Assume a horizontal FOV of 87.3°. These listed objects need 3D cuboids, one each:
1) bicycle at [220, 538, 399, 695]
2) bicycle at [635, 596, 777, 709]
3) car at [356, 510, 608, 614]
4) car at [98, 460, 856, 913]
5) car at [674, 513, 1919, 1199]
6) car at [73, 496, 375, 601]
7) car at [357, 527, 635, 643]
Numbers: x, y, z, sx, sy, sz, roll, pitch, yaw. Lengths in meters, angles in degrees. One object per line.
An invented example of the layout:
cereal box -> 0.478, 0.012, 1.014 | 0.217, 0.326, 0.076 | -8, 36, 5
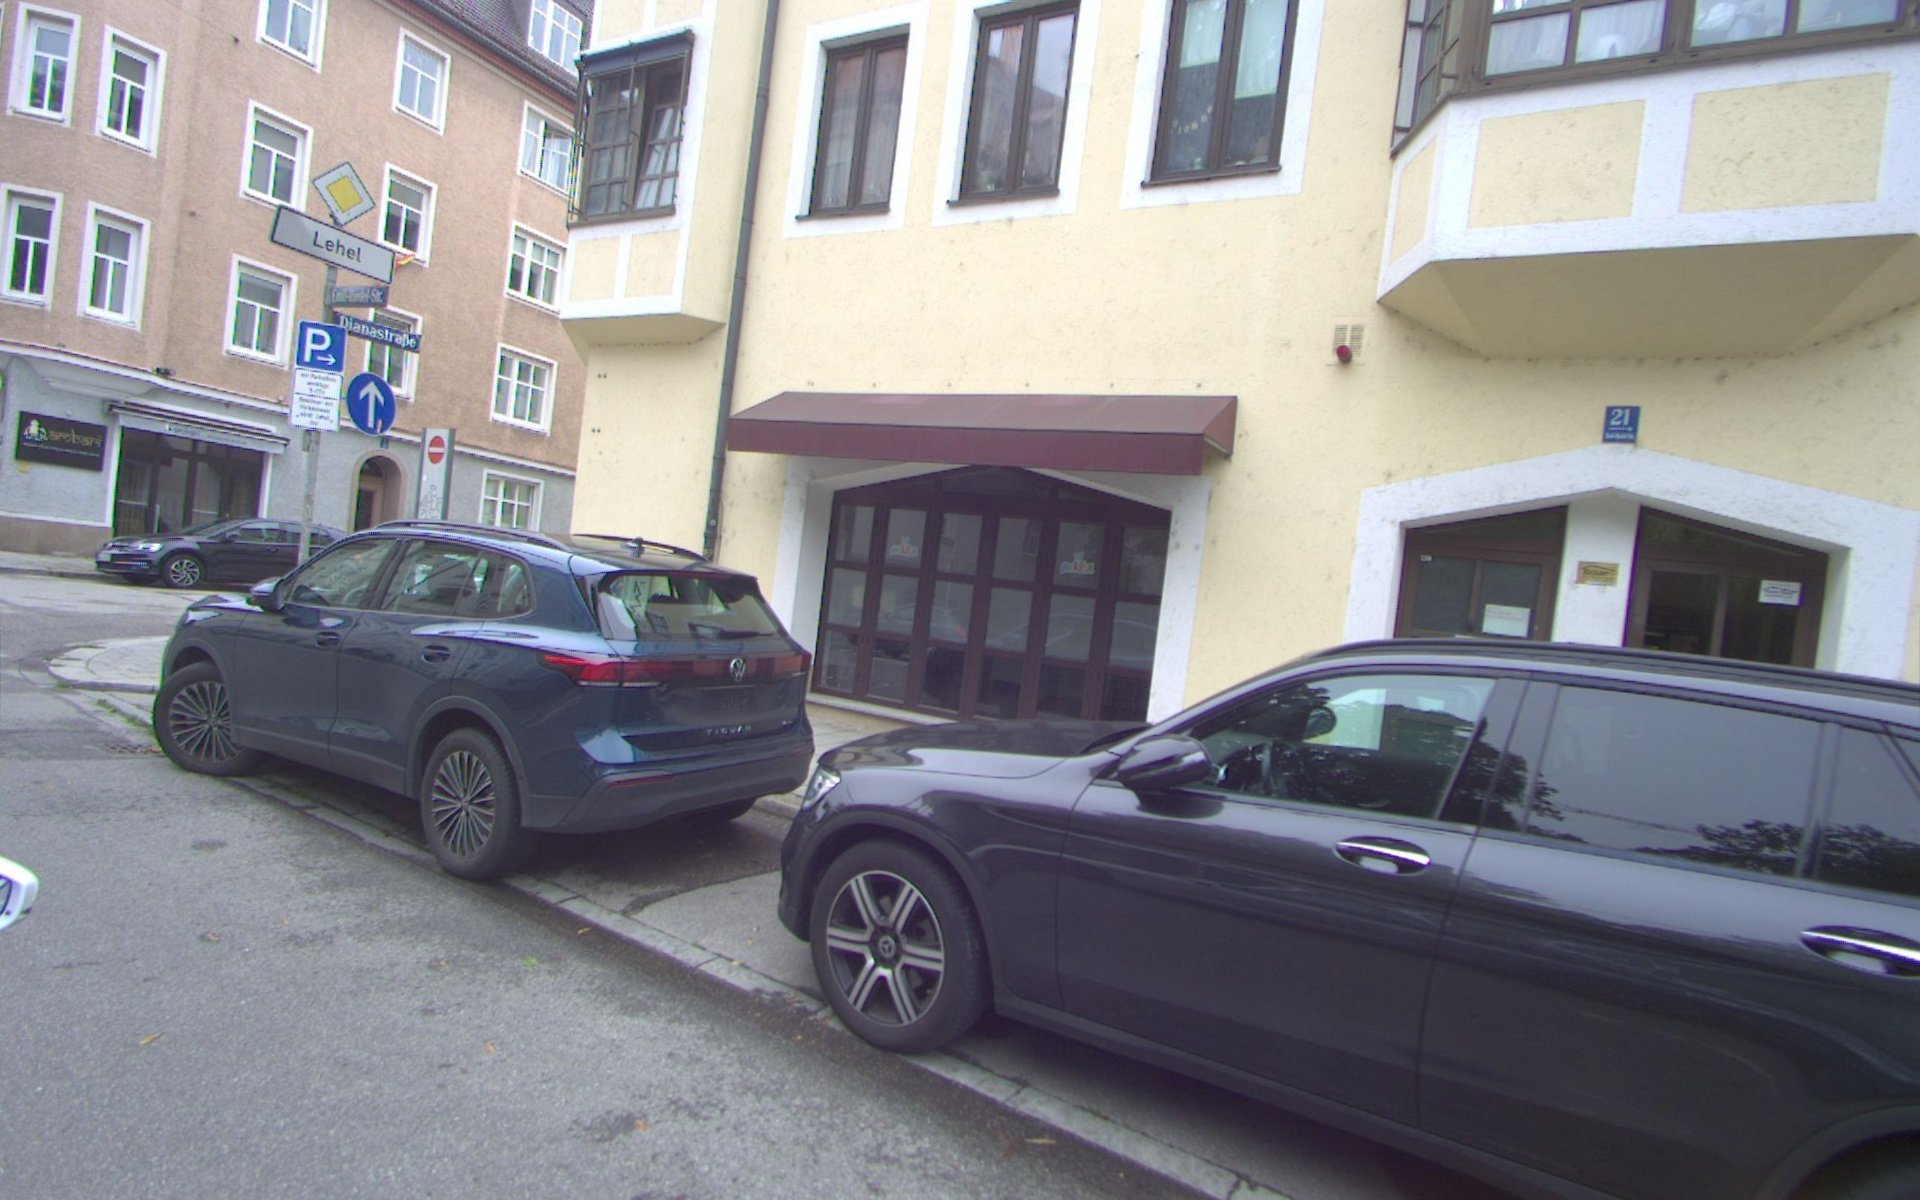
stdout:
bicycle -> -6.133, 0.130, 9.443 | 1.962, 1.222, 0.514 | 7, 0, 32
bicycle -> -2.751, 0.543, 10.812 | 1.656, 0.989, 0.271 | 7, 0, 30
car -> -11.350, -0.826, 24.339 | 2.064, 1.876, 5.136 | 5, -1, 29
car -> -3.013, 0.240, 5.980 | 4.434, 1.701, 1.820 | 7, 2, 31
car -> 1.385, 0.799, 3.307 | 4.630, 1.701, 1.757 | 7, 2, 33
car -> -13.820, -0.906, 19.162 | 1.893, 1.446, 4.177 | 5, -1, 29
car -> -7.943, -0.192, 17.593 | 1.717, 1.475, 4.042 | 9, 1, 31
